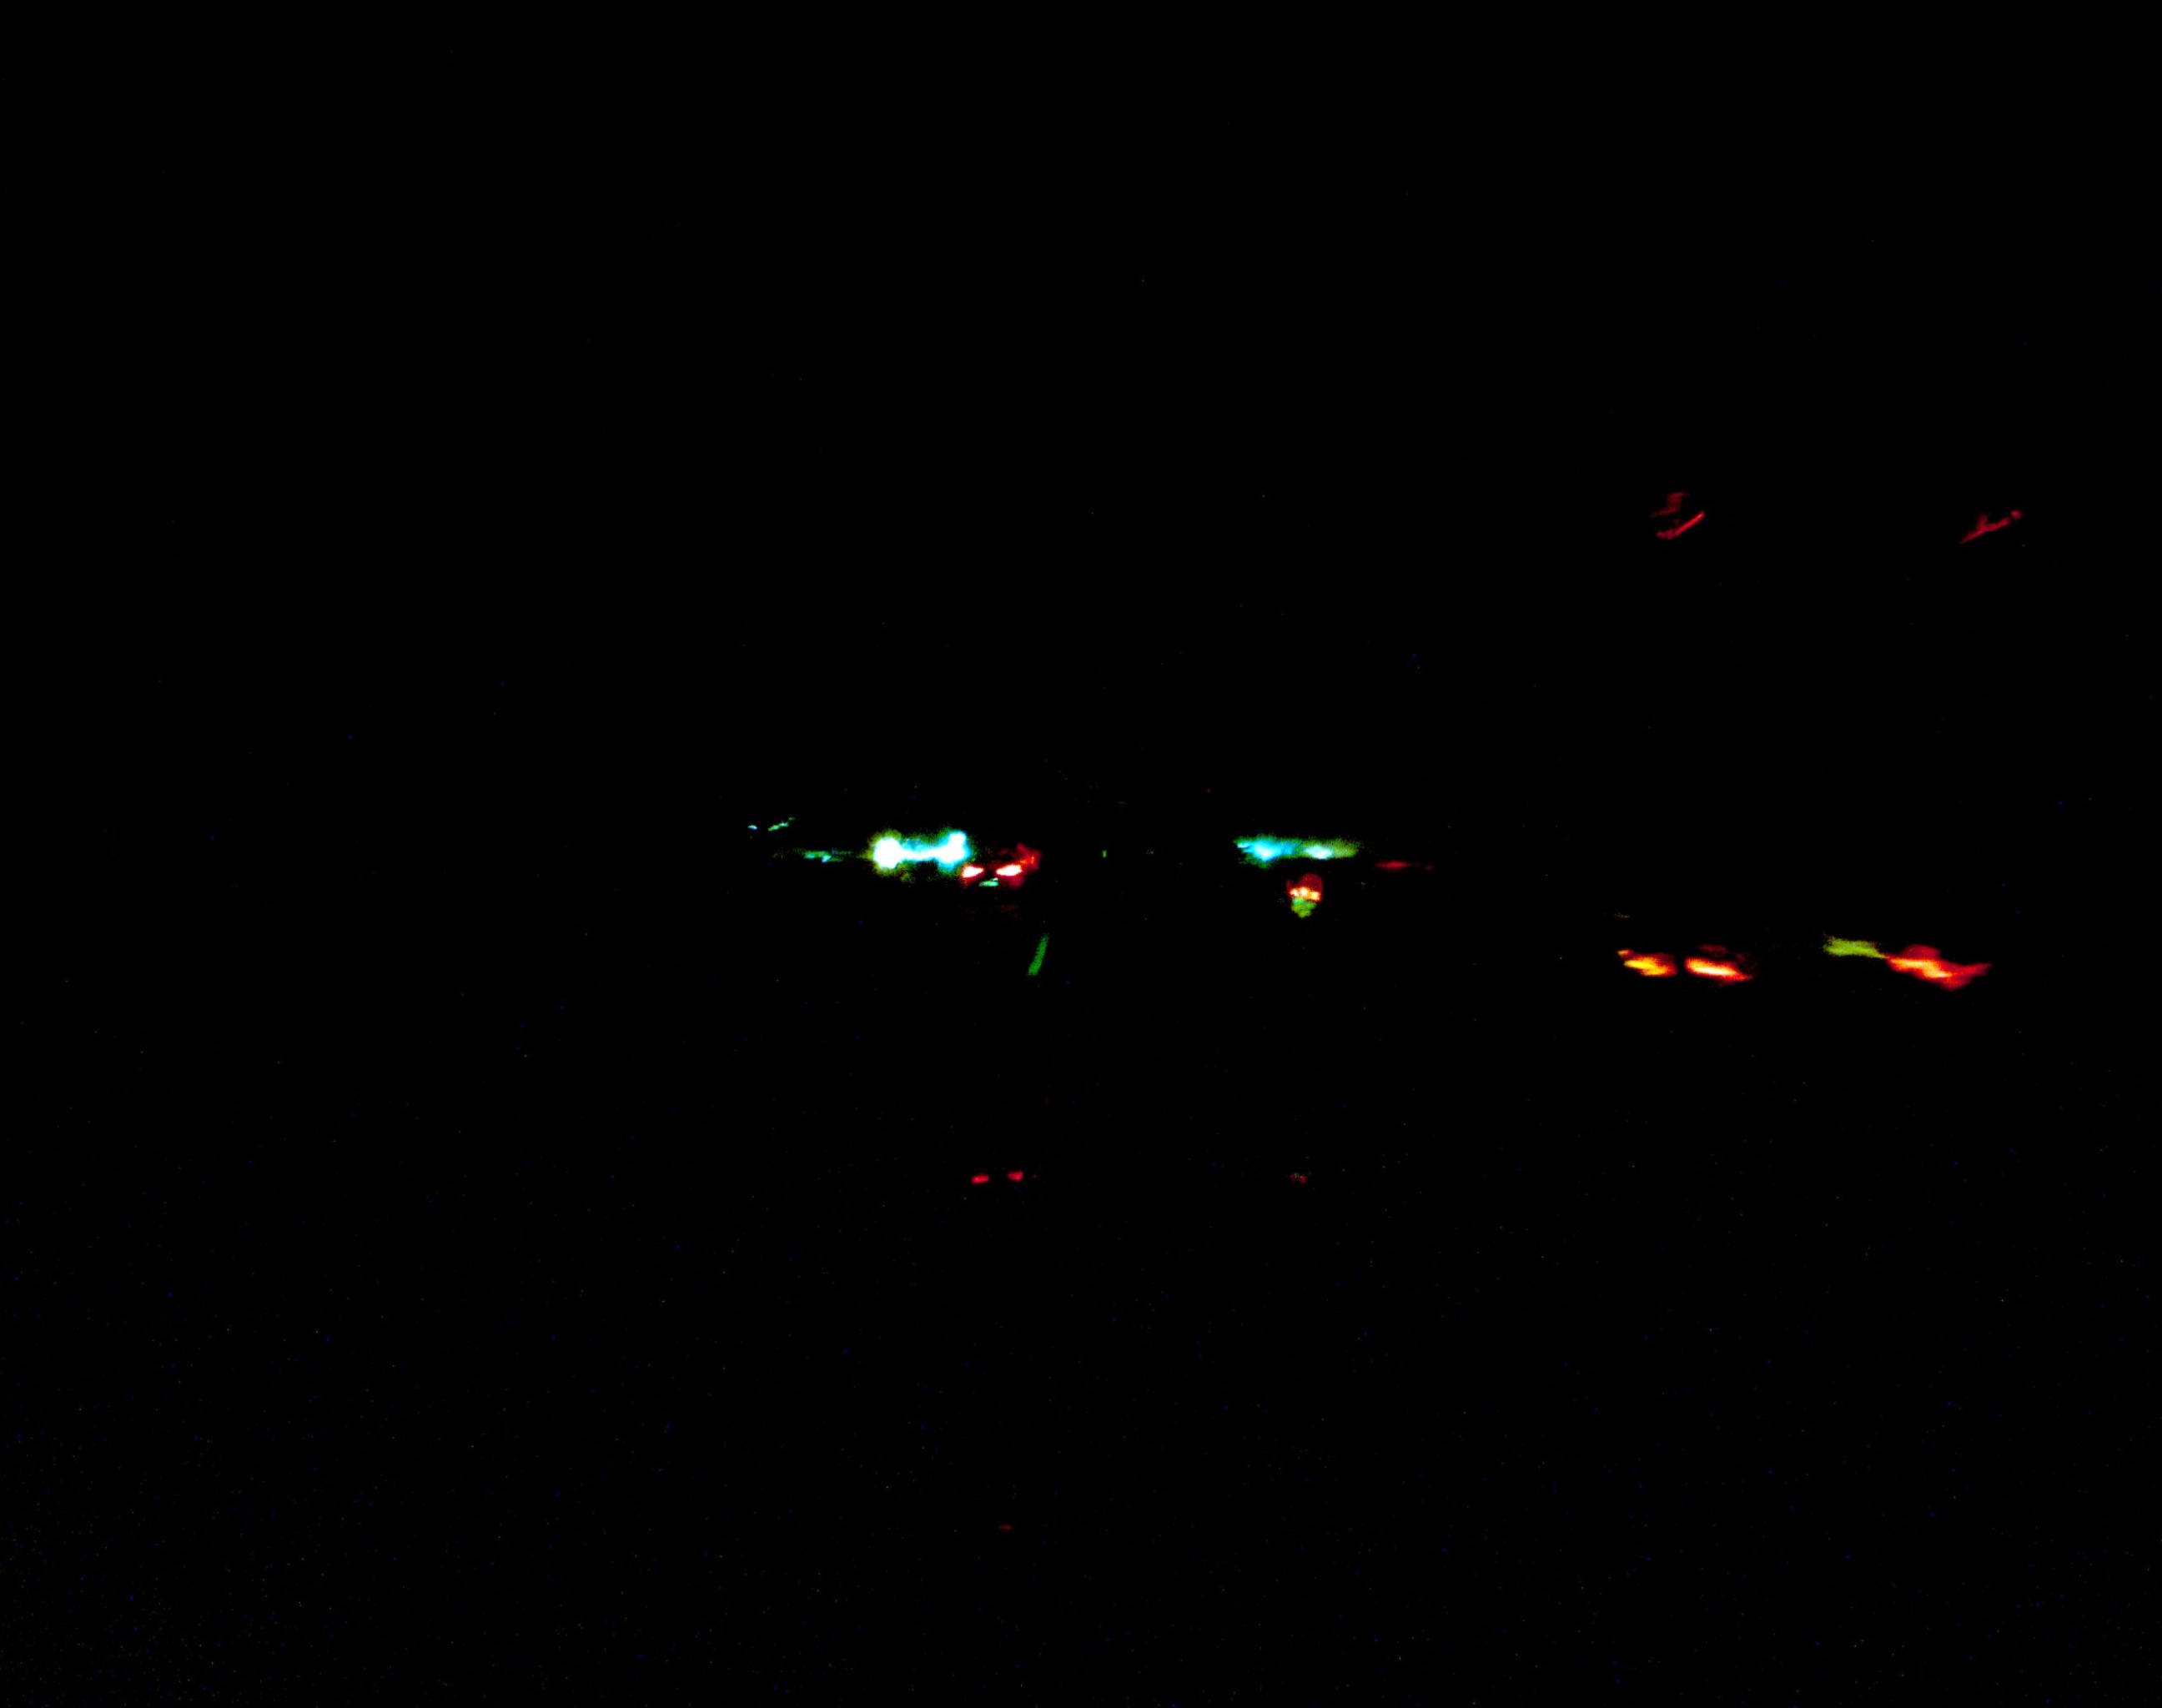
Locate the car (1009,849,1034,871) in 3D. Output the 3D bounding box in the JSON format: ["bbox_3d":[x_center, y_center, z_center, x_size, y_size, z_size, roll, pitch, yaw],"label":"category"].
[{"bbox_3d":[-6.025,0.595,82.269,1.986,2.013,4.002,3,1,2],"label":"car"}]

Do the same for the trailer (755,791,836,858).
[{"bbox_3d":[-24.366,-2.506,70.565,2.767,5.090,14.911,3,1,-5],"label":"trailer"}]

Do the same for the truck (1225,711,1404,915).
[{"bbox_3d":[5.443,-0.886,19.961,2.702,4.241,5.291,2,0,-1],"label":"truck"}]

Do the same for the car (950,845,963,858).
[{"bbox_3d":[-21.424,-0.416,140.461,1.991,2.013,5.185,3,1,-6],"label":"car"}]

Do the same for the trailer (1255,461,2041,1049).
[{"bbox_3d":[5.578,-0.789,12.608,2.731,4.247,13.366,0,1,-1],"label":"trailer"}]

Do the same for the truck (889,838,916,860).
[{"bbox_3d":[-22.956,-0.647,104.995,2.281,2.672,6.113,3,0,-4],"label":"truck"}]

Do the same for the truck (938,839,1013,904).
[{"bbox_3d":[-3.786,0.515,30.395,2.139,2.077,6.599,-1,2,-2],"label":"truck"}]

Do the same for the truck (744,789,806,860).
[{"bbox_3d":[-23.768,-2.269,63.539,2.748,5.097,5.873,3,1,-5],"label":"truck"}]
